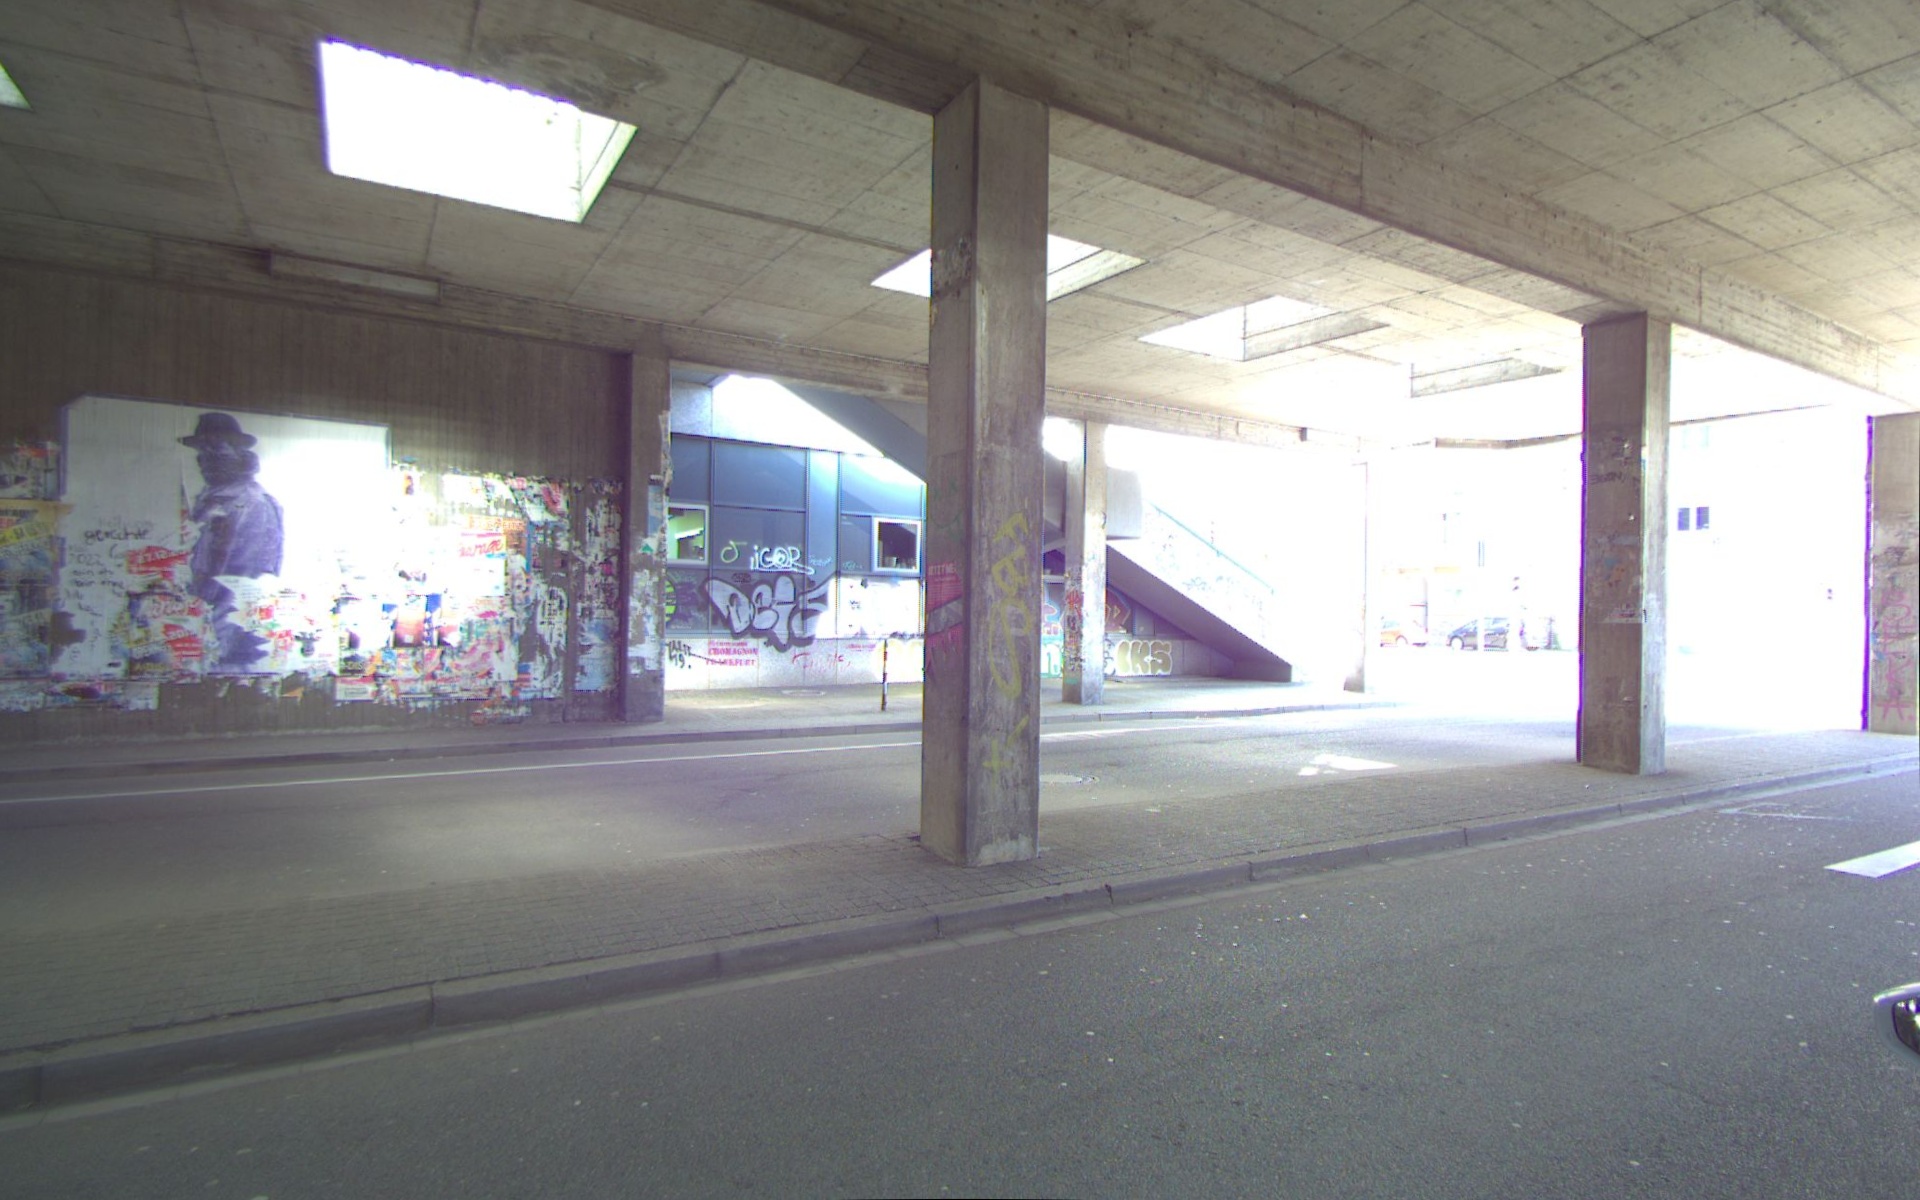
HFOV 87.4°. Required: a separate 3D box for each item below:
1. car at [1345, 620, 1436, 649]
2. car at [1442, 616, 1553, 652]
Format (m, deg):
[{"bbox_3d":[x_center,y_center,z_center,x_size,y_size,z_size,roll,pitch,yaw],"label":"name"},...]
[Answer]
[{"bbox_3d":[22.519,1.777,52.682,2.163,1.392,3.971,1,-1,-28],"label":"car"},{"bbox_3d":[25.440,1.586,47.671,2.240,1.571,4.111,1,-1,-29],"label":"car"}]
